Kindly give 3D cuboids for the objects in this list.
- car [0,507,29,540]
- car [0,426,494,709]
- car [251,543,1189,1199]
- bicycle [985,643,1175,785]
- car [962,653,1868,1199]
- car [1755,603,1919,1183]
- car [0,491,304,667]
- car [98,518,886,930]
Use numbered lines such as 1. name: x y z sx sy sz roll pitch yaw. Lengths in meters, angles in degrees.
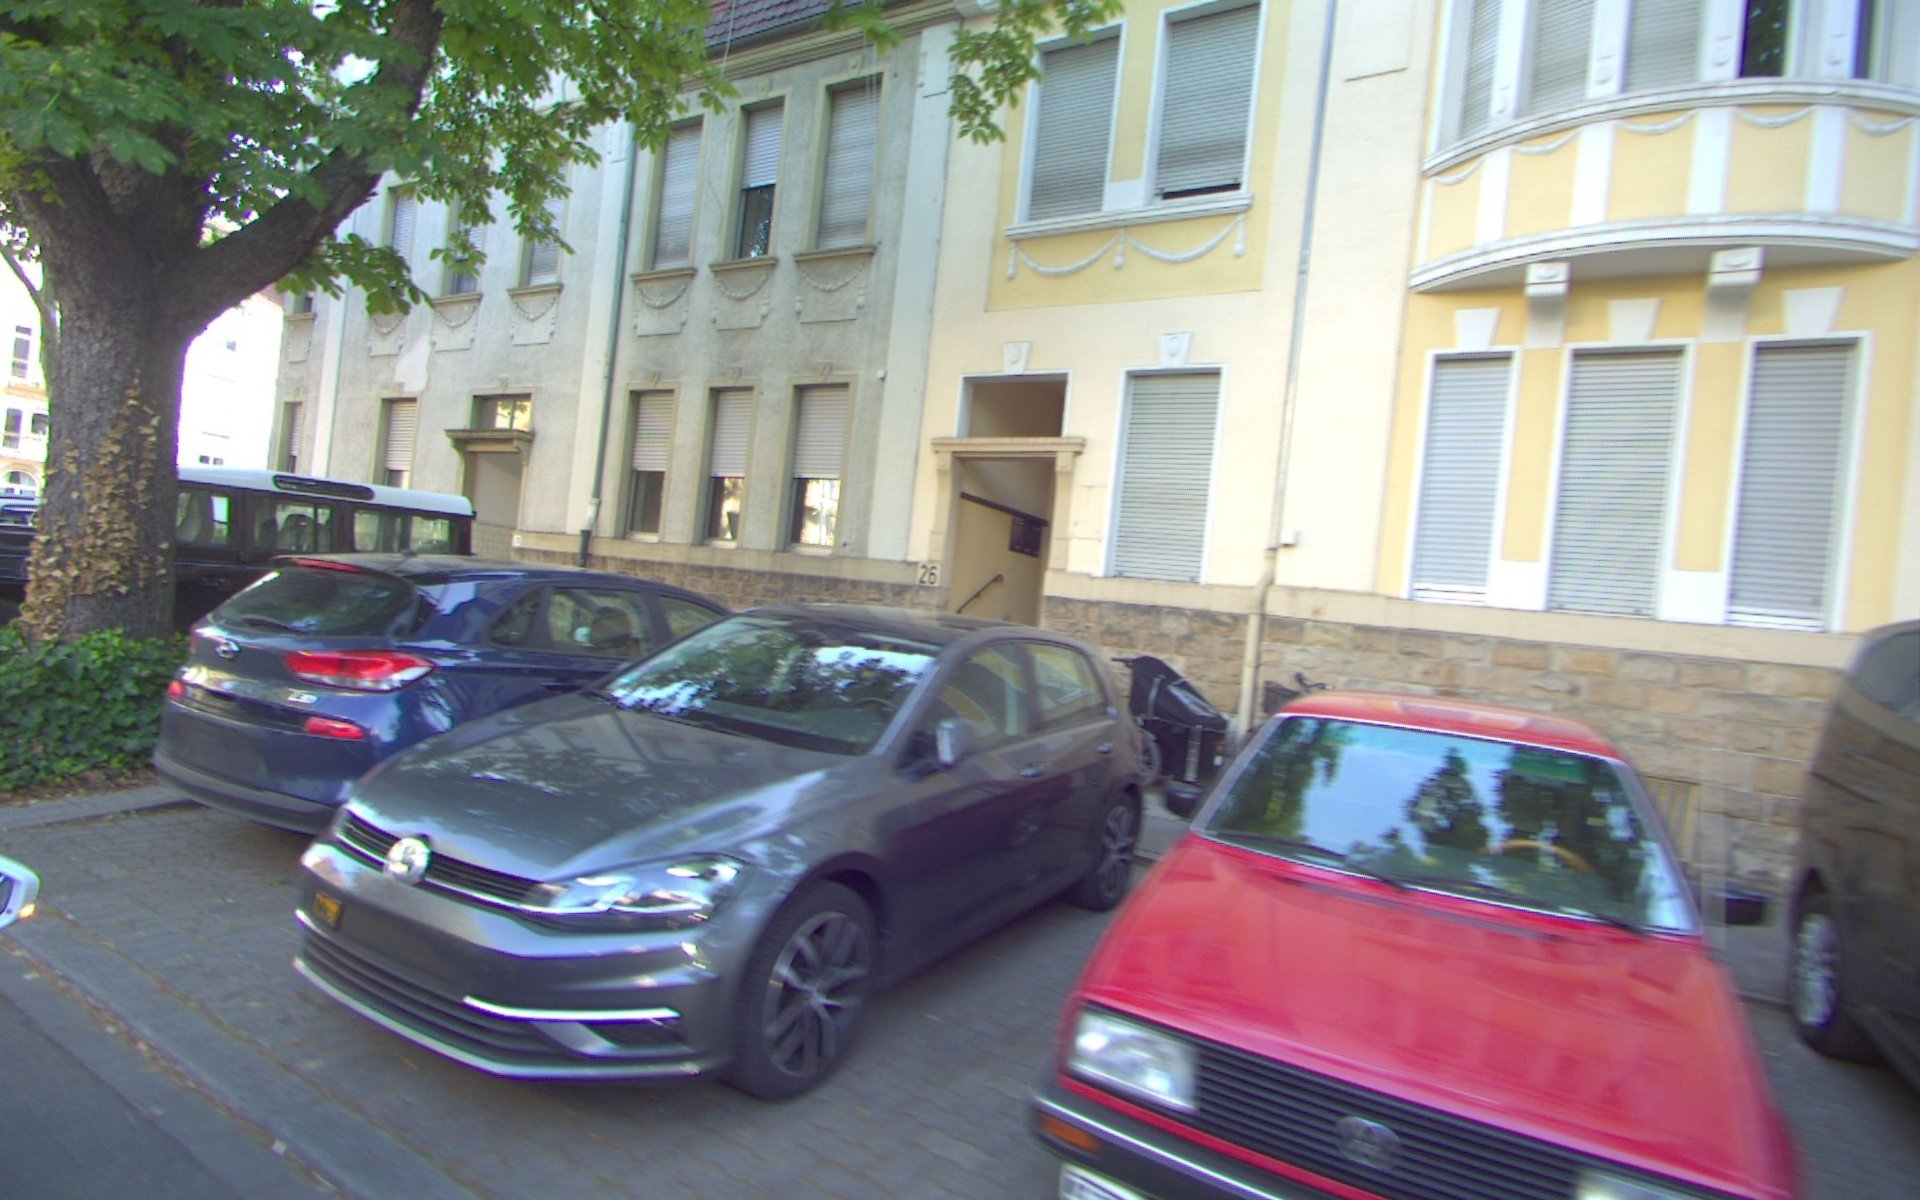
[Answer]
1. car: -35.531 -2.922 35.692 1.357 1.081 3.370 6 -1 31
2. car: -6.726 -0.227 8.818 1.762 1.981 4.496 6 1 29
3. car: -0.418 0.708 4.411 1.601 1.439 4.054 5 0 29
4. bicycle: 1.132 1.054 9.711 1.676 1.090 0.500 7 2 32
5. car: 1.664 0.946 3.705 1.532 1.337 3.916 5 0 29
6. car: 3.745 0.967 2.387 1.848 1.847 4.829 5 0 27
7. car: -9.120 -0.225 10.372 1.680 1.606 3.488 6 0 26
8. car: -2.165 0.511 5.693 1.601 1.439 3.754 5 0 29
